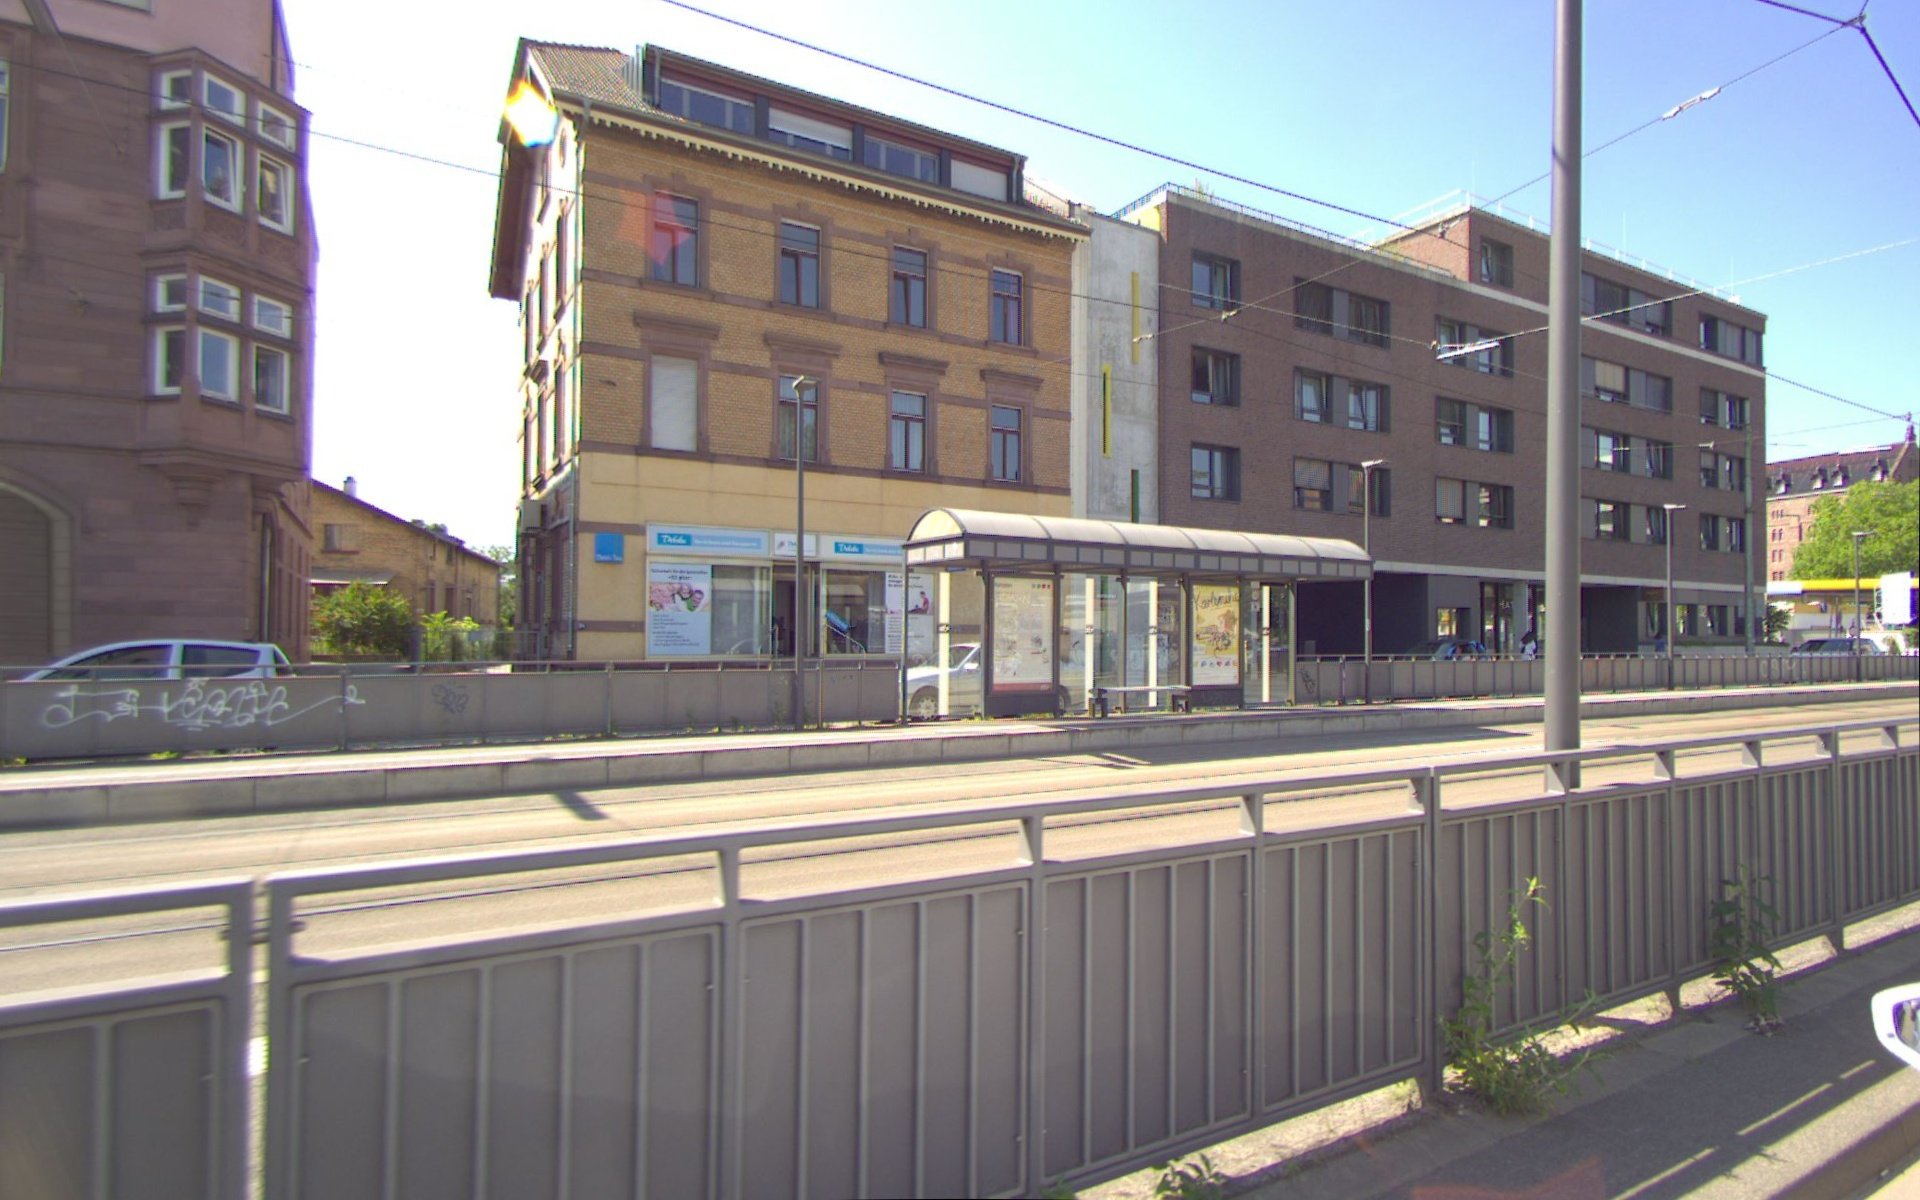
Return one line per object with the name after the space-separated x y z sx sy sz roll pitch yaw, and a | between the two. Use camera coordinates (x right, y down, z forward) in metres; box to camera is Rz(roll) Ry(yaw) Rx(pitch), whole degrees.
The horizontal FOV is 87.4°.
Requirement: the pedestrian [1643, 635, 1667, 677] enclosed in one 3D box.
28.703 2.298 41.477 0.692 1.686 0.578 1 -2 -32 | pedestrian

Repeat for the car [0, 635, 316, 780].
-9.858 1.178 11.739 3.820 1.488 1.618 1 -1 -30 | car

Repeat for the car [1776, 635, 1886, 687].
31.804 2.176 36.654 4.140 1.752 1.792 1 0 -30 | car

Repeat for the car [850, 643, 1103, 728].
0.359 1.496 18.346 4.470 1.381 1.623 2 -3 -31 | car

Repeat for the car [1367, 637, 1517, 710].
12.017 1.771 25.012 3.537 1.644 1.704 1 -1 -30 | car

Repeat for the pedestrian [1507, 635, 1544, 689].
20.076 2.187 35.645 0.829 1.843 0.840 1 -2 -30 | pedestrian
